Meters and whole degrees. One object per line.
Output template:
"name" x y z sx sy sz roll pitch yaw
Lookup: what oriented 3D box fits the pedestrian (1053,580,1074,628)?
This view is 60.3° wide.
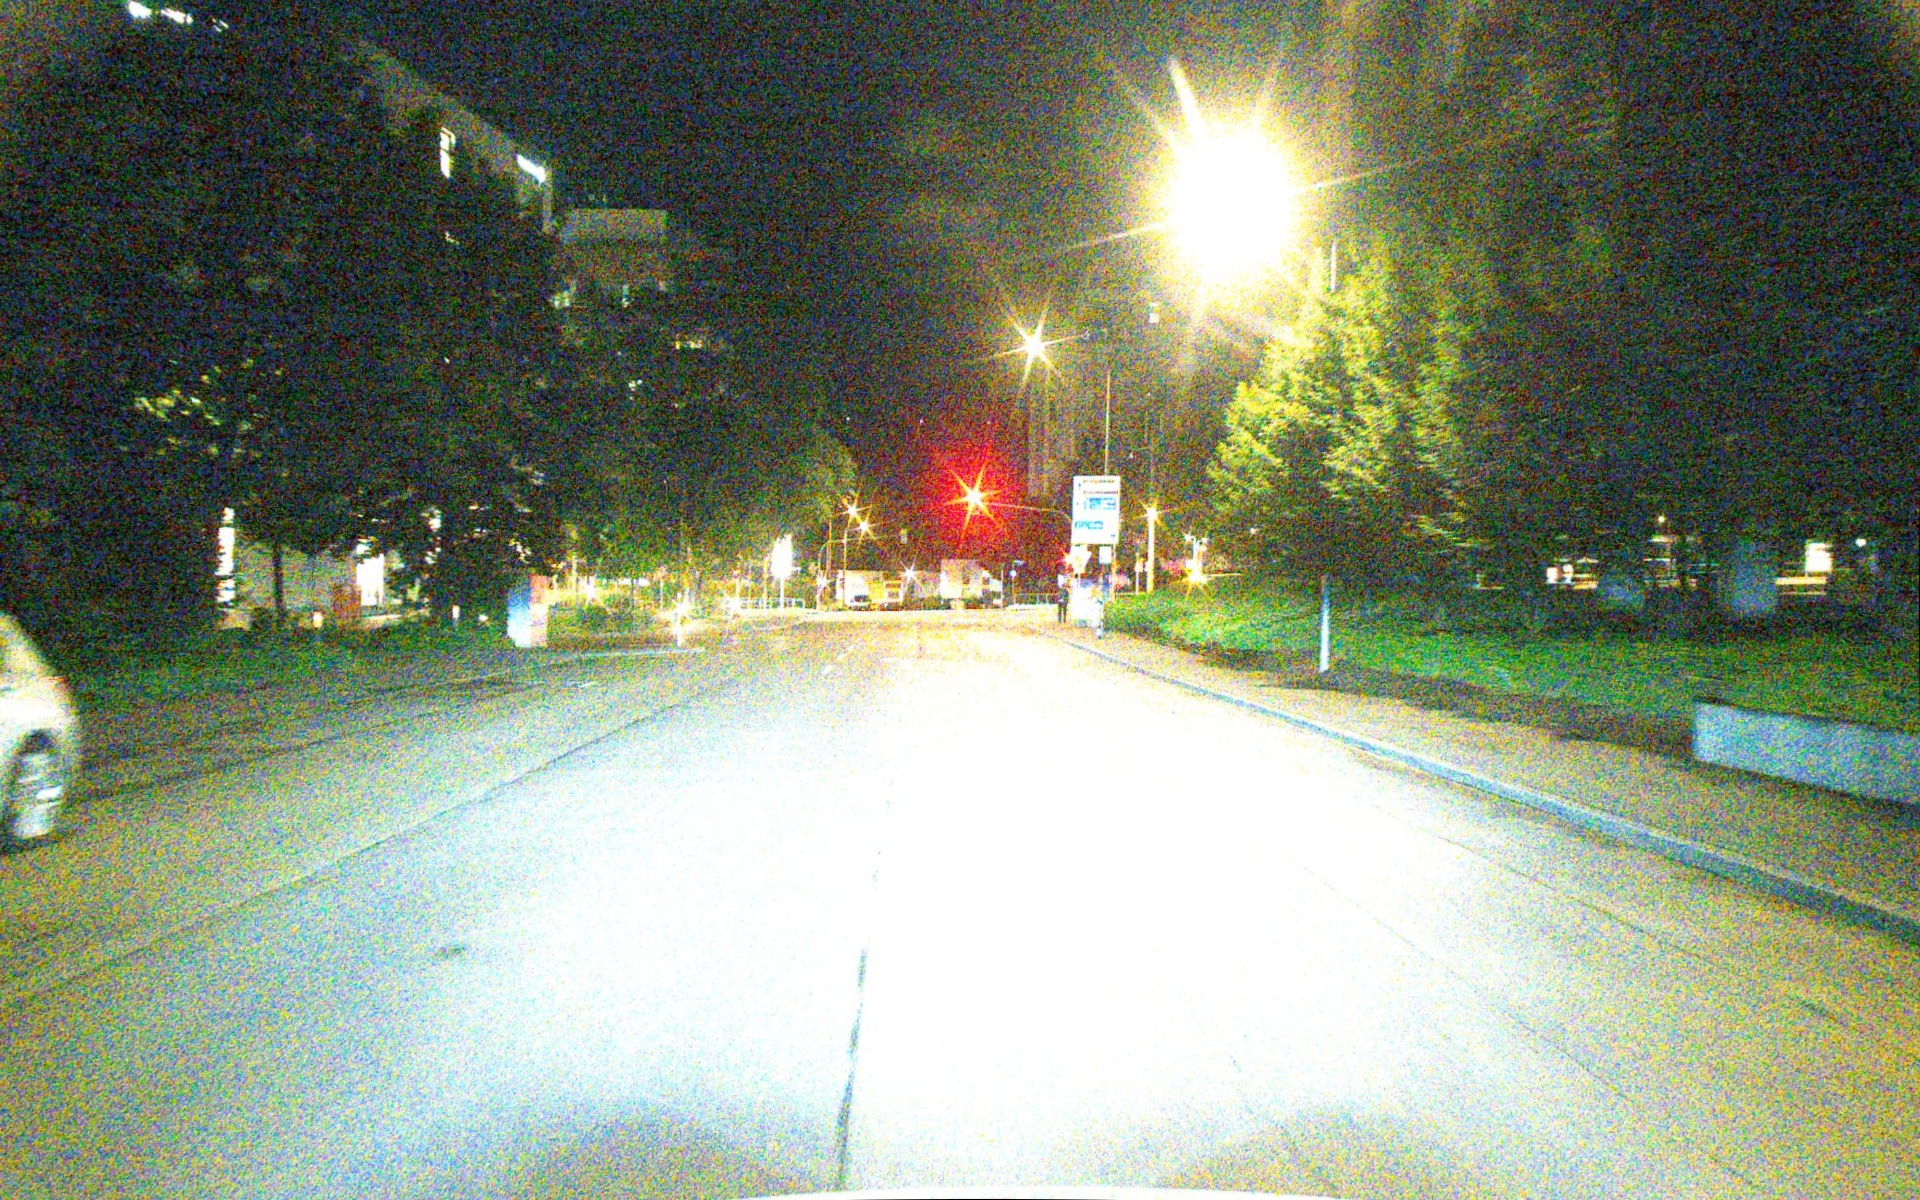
"pedestrian" 4.397 0.175 70.315 0.725 2.016 0.622 0 0 -18

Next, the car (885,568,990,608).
"car" -2.796 -1.434 202.759 12.179 4.792 4.790 0 0 -15

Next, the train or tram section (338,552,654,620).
"train or tram section" -28.407 -0.847 101.453 18.769 3.890 2.925 -1 0 5

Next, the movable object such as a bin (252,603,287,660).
"movable object such as a bin" -16.481 0.756 39.484 0.614 1.330 0.561 -2 0 -39

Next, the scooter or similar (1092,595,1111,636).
"scooter or similar" 4.517 0.494 52.777 0.484 1.284 1.320 -2 0 1

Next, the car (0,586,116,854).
"car" -6.050 0.651 7.853 1.872 1.428 4.337 0 0 0

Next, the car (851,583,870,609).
"car" -11.423 -0.474 189.798 1.955 3.026 3.995 0 0 -6

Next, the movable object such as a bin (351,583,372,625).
"movable object such as a bin" -21.450 0.125 59.271 0.431 1.477 0.809 0 1 3

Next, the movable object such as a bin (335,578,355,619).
"movable object such as a bin" -21.681 -0.057 58.316 0.349 1.394 0.732 -1 3 1
